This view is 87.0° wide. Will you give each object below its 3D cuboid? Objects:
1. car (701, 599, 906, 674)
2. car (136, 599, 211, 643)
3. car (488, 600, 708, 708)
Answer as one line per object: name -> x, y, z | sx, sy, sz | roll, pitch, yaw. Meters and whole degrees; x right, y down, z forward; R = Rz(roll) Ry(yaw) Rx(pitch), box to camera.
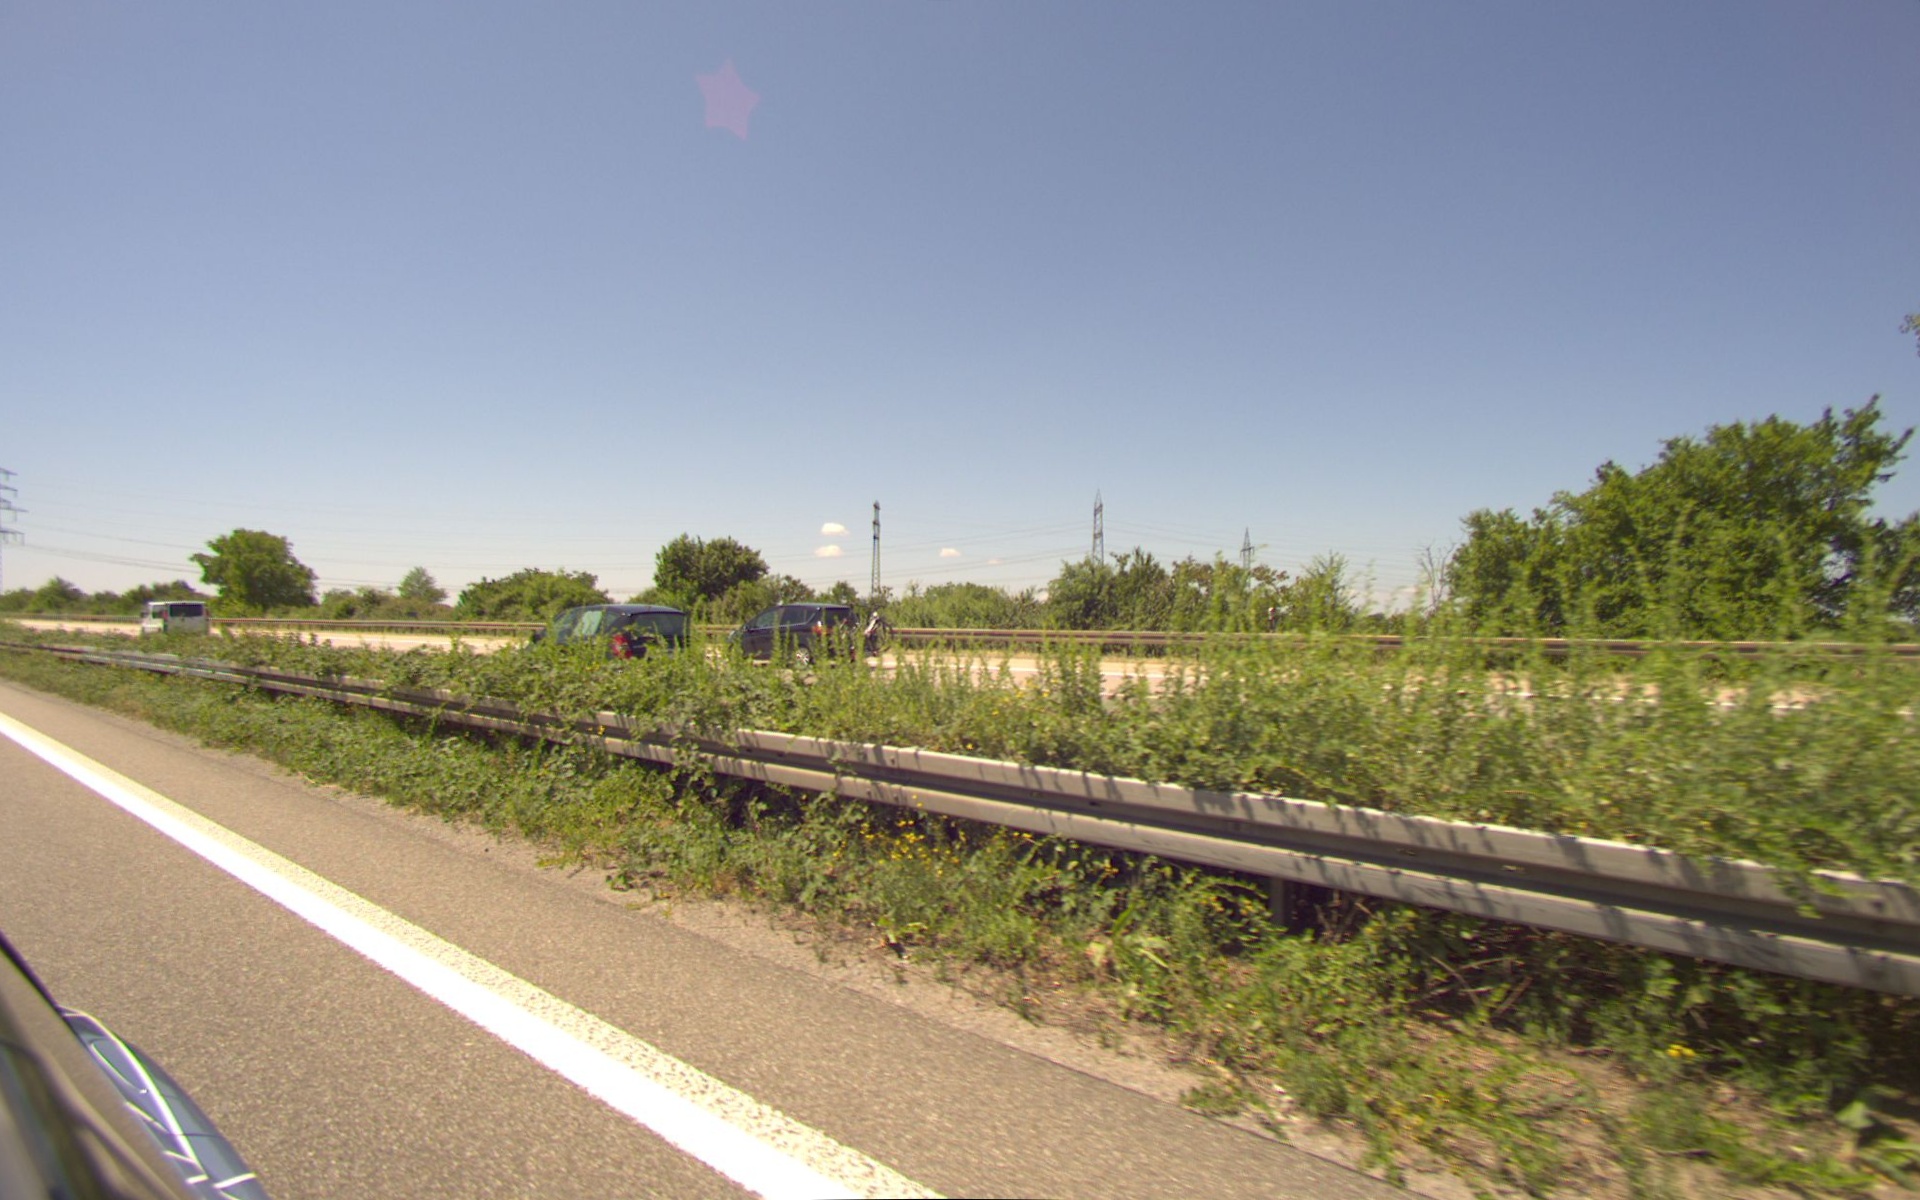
car -> -3.967, 0.831, 24.868 | 5.631, 1.613, 1.659 | -1, 1, 40
car -> -38.991, 1.019, 50.124 | 4.819, 2.029, 1.885 | -1, 0, 39
car -> -6.086, 0.830, 16.828 | 3.997, 1.586, 1.693 | -1, -1, 40
